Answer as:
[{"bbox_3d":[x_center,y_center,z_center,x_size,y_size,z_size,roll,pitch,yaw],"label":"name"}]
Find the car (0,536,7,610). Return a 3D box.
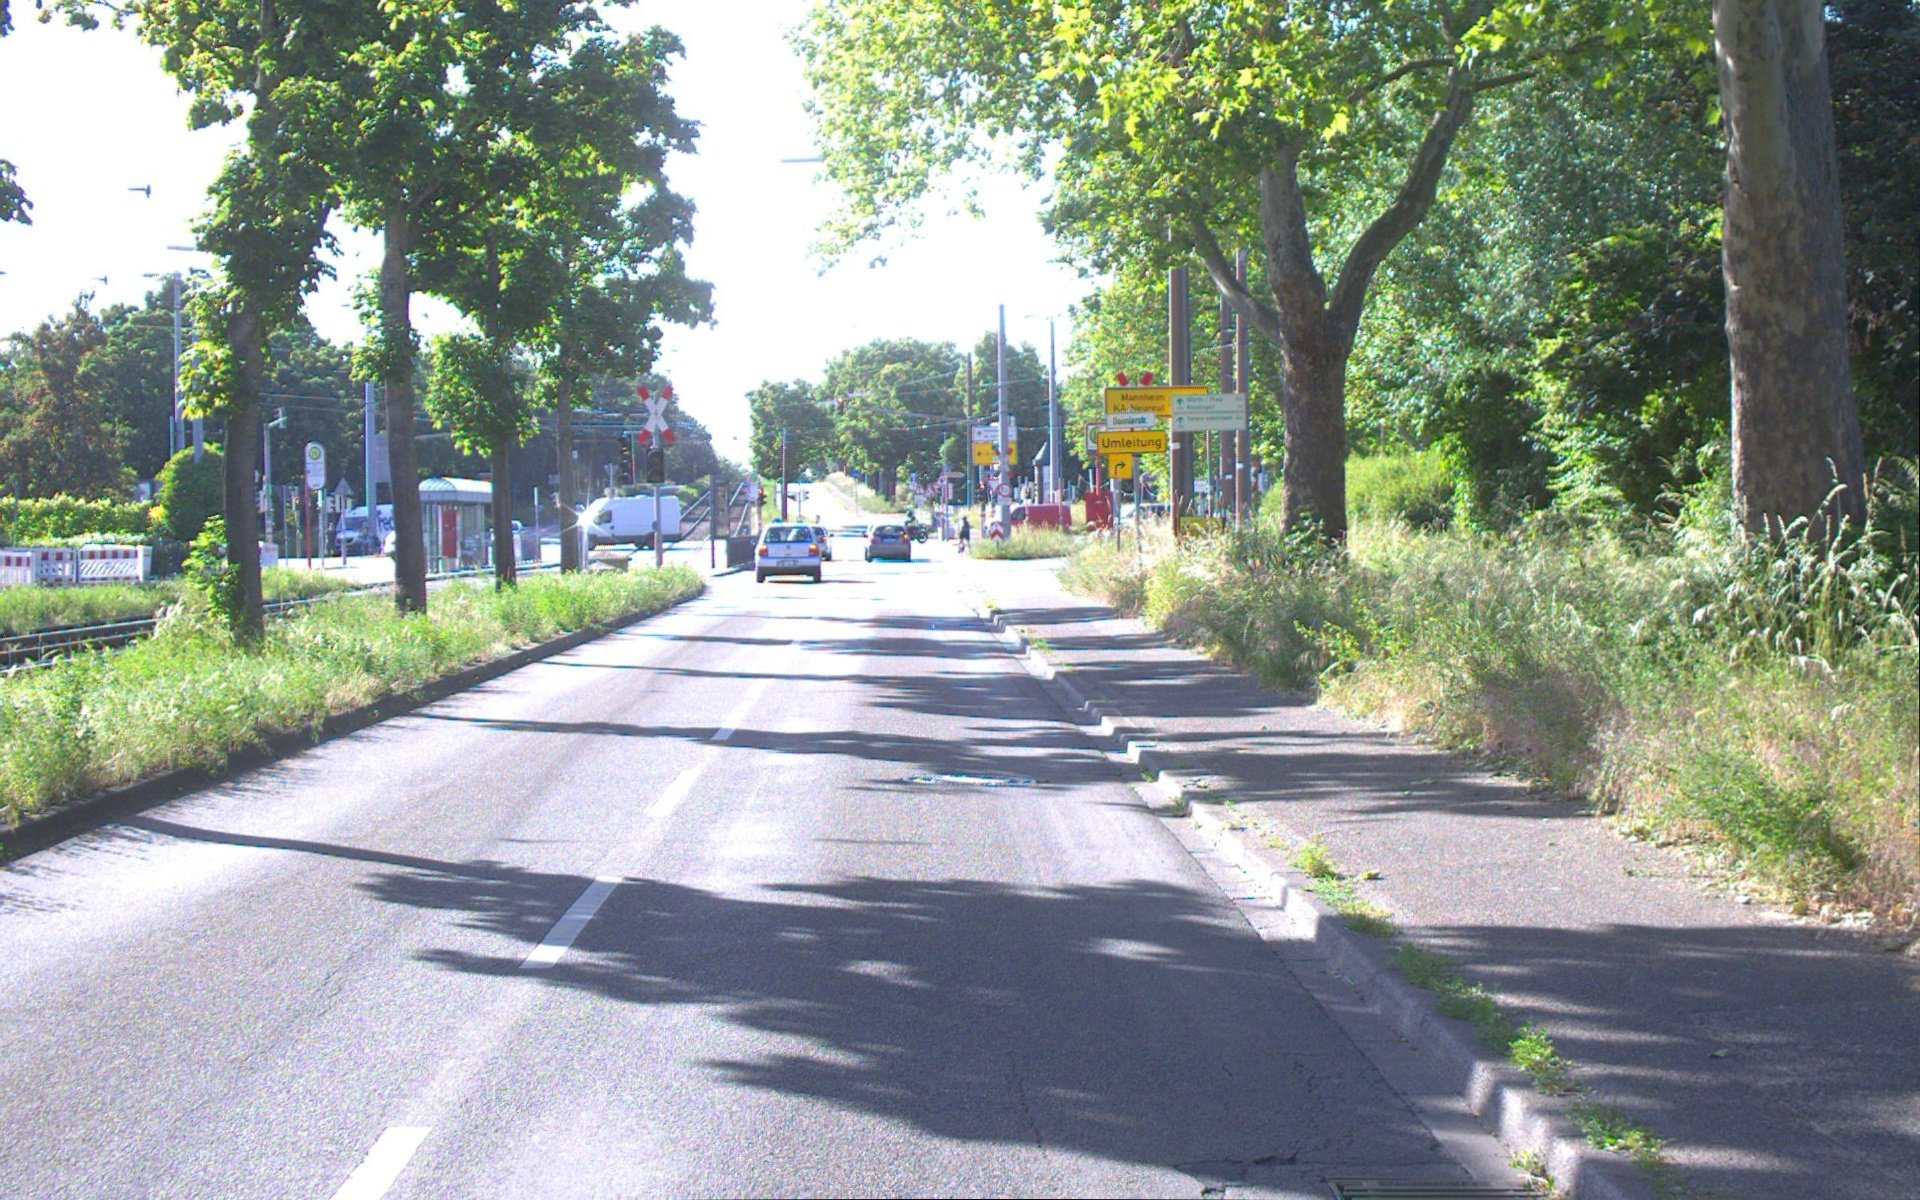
[{"bbox_3d":[-23.021,-0.598,77.846,1.778,1.701,4.228,1,1,-1],"label":"car"}]

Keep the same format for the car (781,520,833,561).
[{"bbox_3d":[-6.138,-2.414,138.301,1.993,1.598,4.474,1,1,-1],"label":"car"}]

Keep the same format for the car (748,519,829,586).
[{"bbox_3d":[-4.191,-1.180,84.629,1.860,1.595,4.228,1,1,-1],"label":"car"}]

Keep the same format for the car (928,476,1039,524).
[{"bbox_3d":[1.190,-4.975,171.784,5.147,2.267,2.001,0,1,-25],"label":"car"}]

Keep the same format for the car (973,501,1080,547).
[{"bbox_3d":[3.421,-3.927,176.977,5.147,2.267,2.001,0,1,-25],"label":"car"}]

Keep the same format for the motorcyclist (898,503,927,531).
[{"bbox_3d":[-2.463,-4.322,179.927,1.315,1.444,0.730,0,1,-27],"label":"motorcyclist"}]

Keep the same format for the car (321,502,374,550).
[{"bbox_3d":[-30.921,-3.748,173.668,2.088,2.346,5.262,1,1,-5],"label":"car"}]

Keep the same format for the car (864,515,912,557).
[{"bbox_3d":[-2.790,-2.477,133.211,1.791,1.553,4.228,1,1,-1],"label":"car"}]

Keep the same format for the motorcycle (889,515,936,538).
[{"bbox_3d":[-2.474,-3.846,179.934,2.373,1.179,0.730,0,1,-27],"label":"motorcycle"}]

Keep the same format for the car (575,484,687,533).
[{"bbox_3d":[-16.565,-4.604,173.140,5.243,2.346,1.866,0,1,-26],"label":"car"}]
